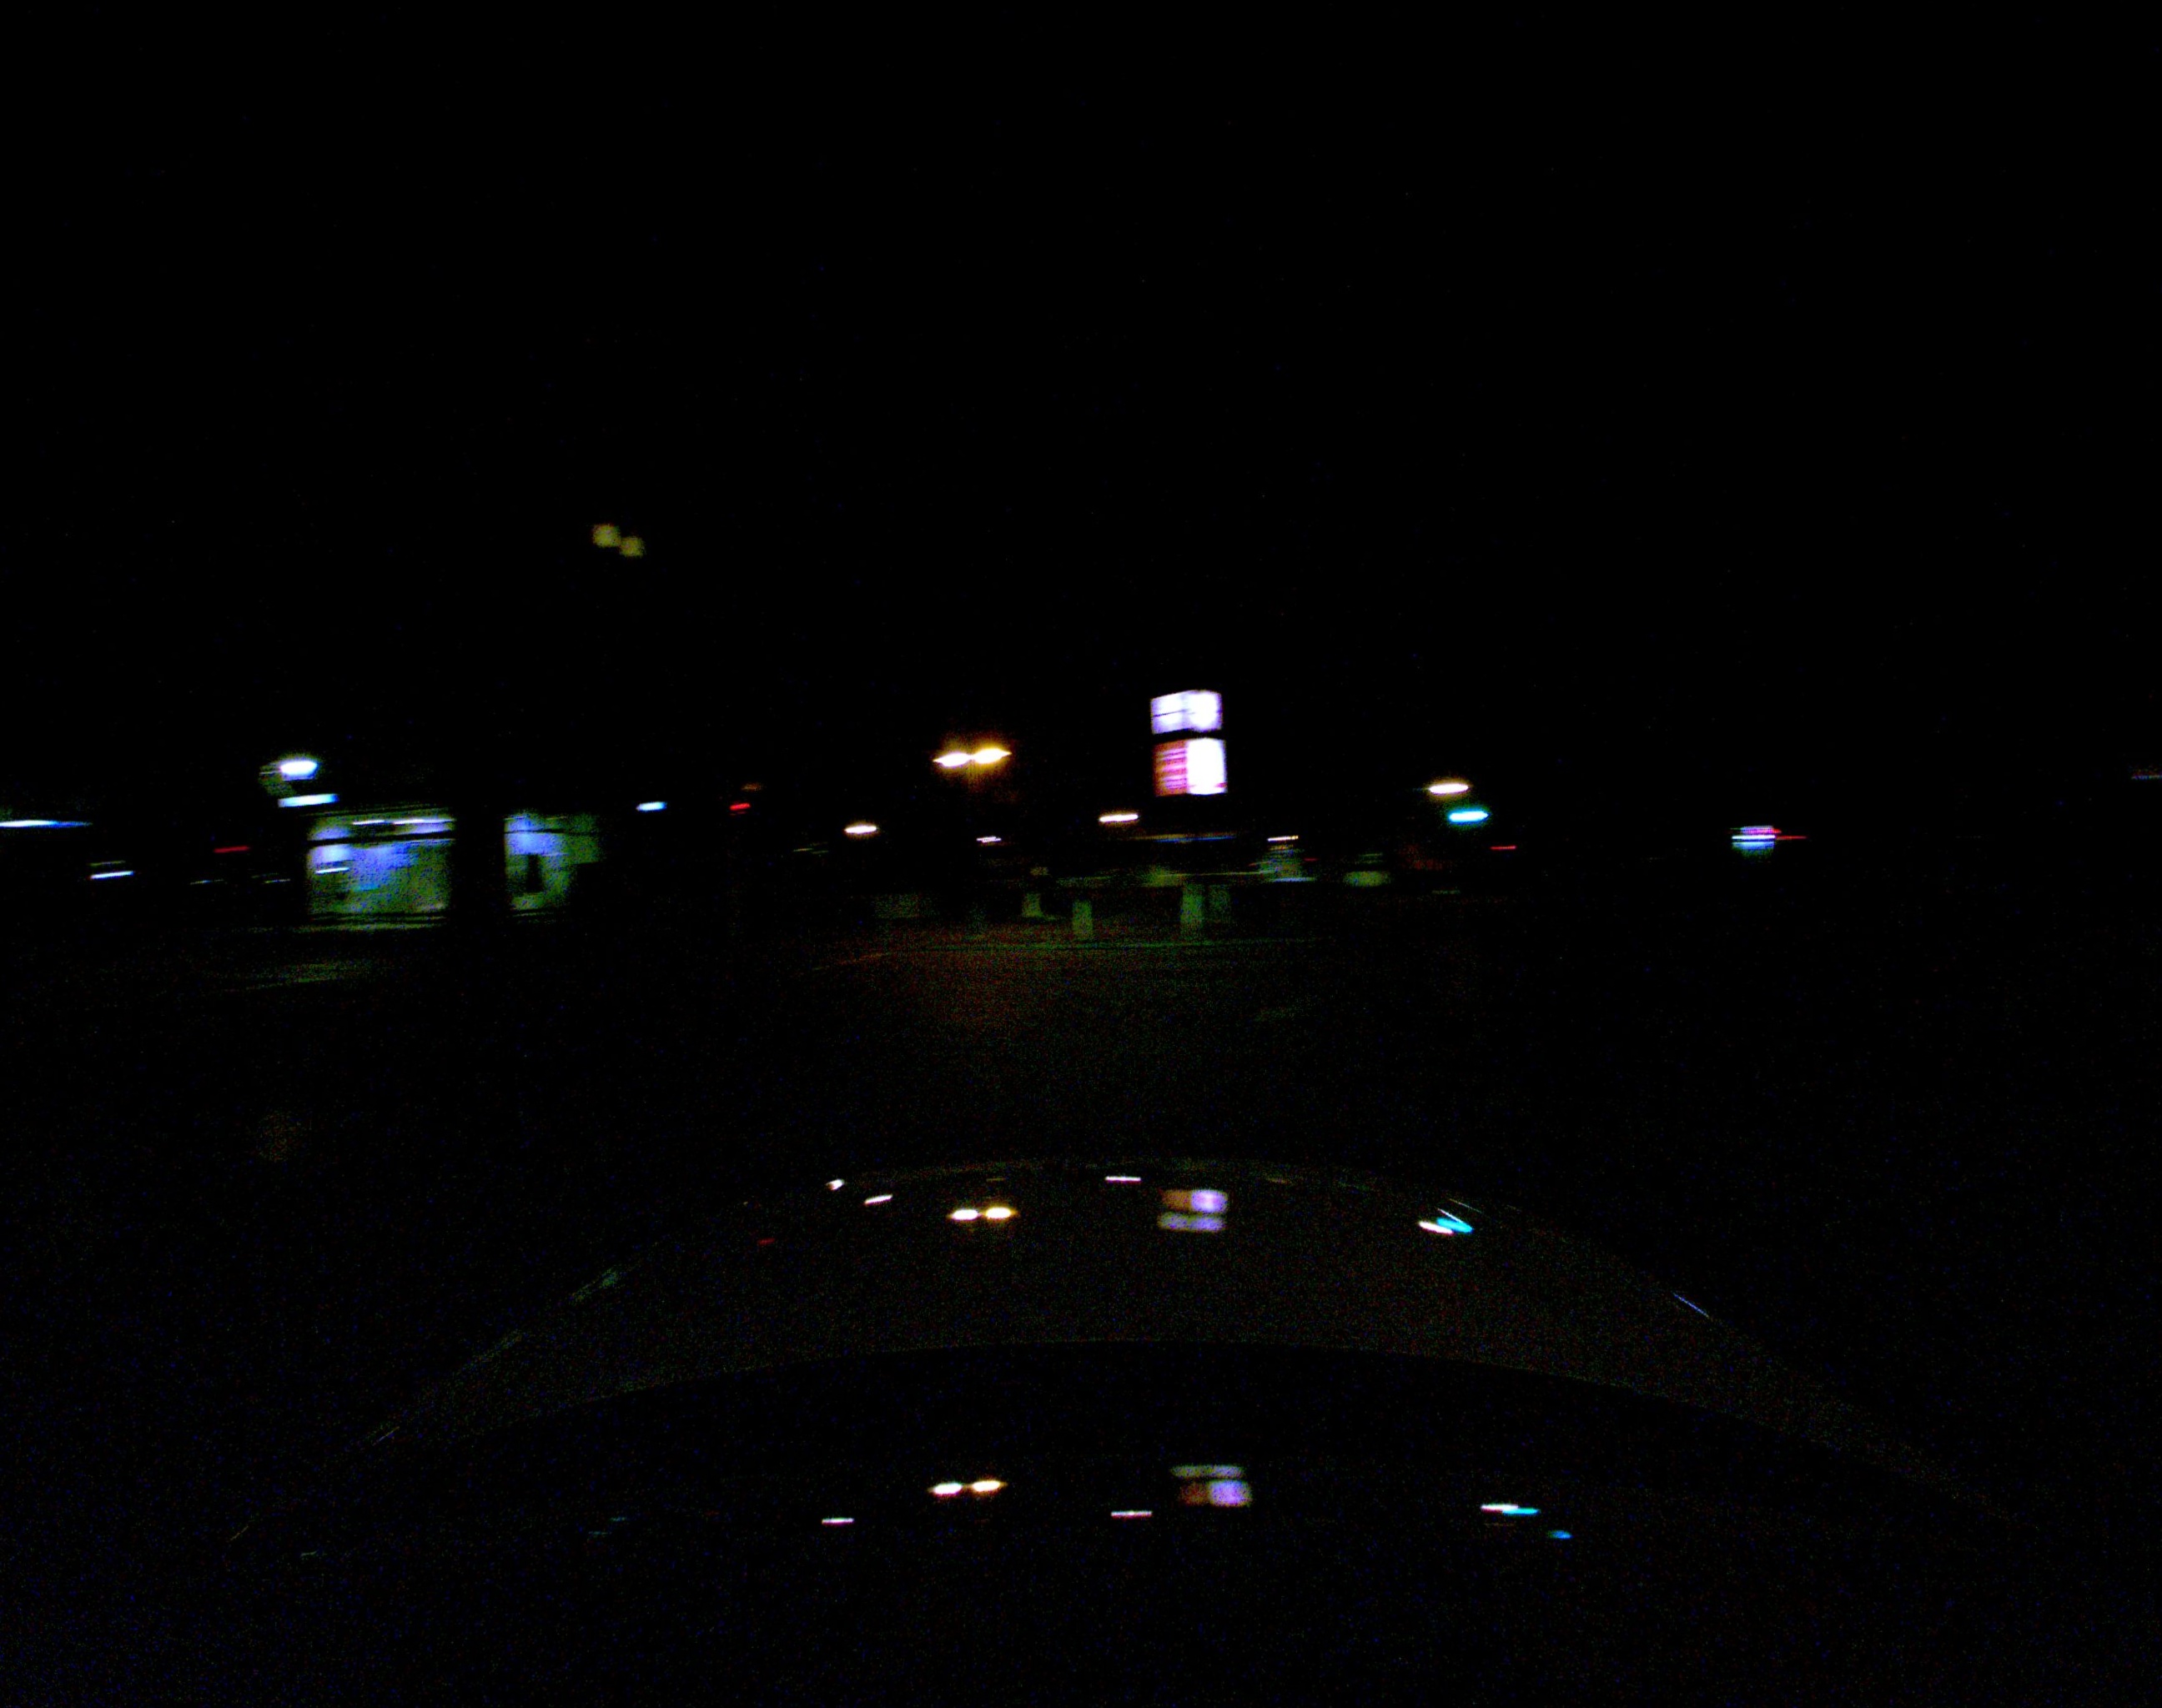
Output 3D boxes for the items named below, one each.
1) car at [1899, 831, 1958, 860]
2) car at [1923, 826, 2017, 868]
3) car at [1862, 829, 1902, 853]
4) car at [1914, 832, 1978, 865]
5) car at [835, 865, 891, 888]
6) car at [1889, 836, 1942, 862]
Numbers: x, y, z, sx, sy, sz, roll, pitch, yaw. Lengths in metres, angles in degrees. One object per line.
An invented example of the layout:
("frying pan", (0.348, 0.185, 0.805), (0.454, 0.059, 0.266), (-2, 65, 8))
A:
("car", (45.541, -0.467, 43.820), (1.871, 1.453, 3.919), (0, 1, 41))
("car", (37.423, -0.289, 34.385), (1.850, 1.653, 3.888), (-1, 1, 35))
("car", (57.196, -0.953, 58.167), (1.988, 1.626, 3.918), (0, 1, 44))
("car", (40.635, -0.284, 38.327), (1.871, 1.453, 3.918), (0, 1, 44))
("car", (-14.890, 1.513, 55.887), (1.903, 1.451, 4.017), (-1, 1, 15))
("car", (48.721, -0.328, 47.606), (1.871, 1.453, 3.919), (0, 1, 41))
